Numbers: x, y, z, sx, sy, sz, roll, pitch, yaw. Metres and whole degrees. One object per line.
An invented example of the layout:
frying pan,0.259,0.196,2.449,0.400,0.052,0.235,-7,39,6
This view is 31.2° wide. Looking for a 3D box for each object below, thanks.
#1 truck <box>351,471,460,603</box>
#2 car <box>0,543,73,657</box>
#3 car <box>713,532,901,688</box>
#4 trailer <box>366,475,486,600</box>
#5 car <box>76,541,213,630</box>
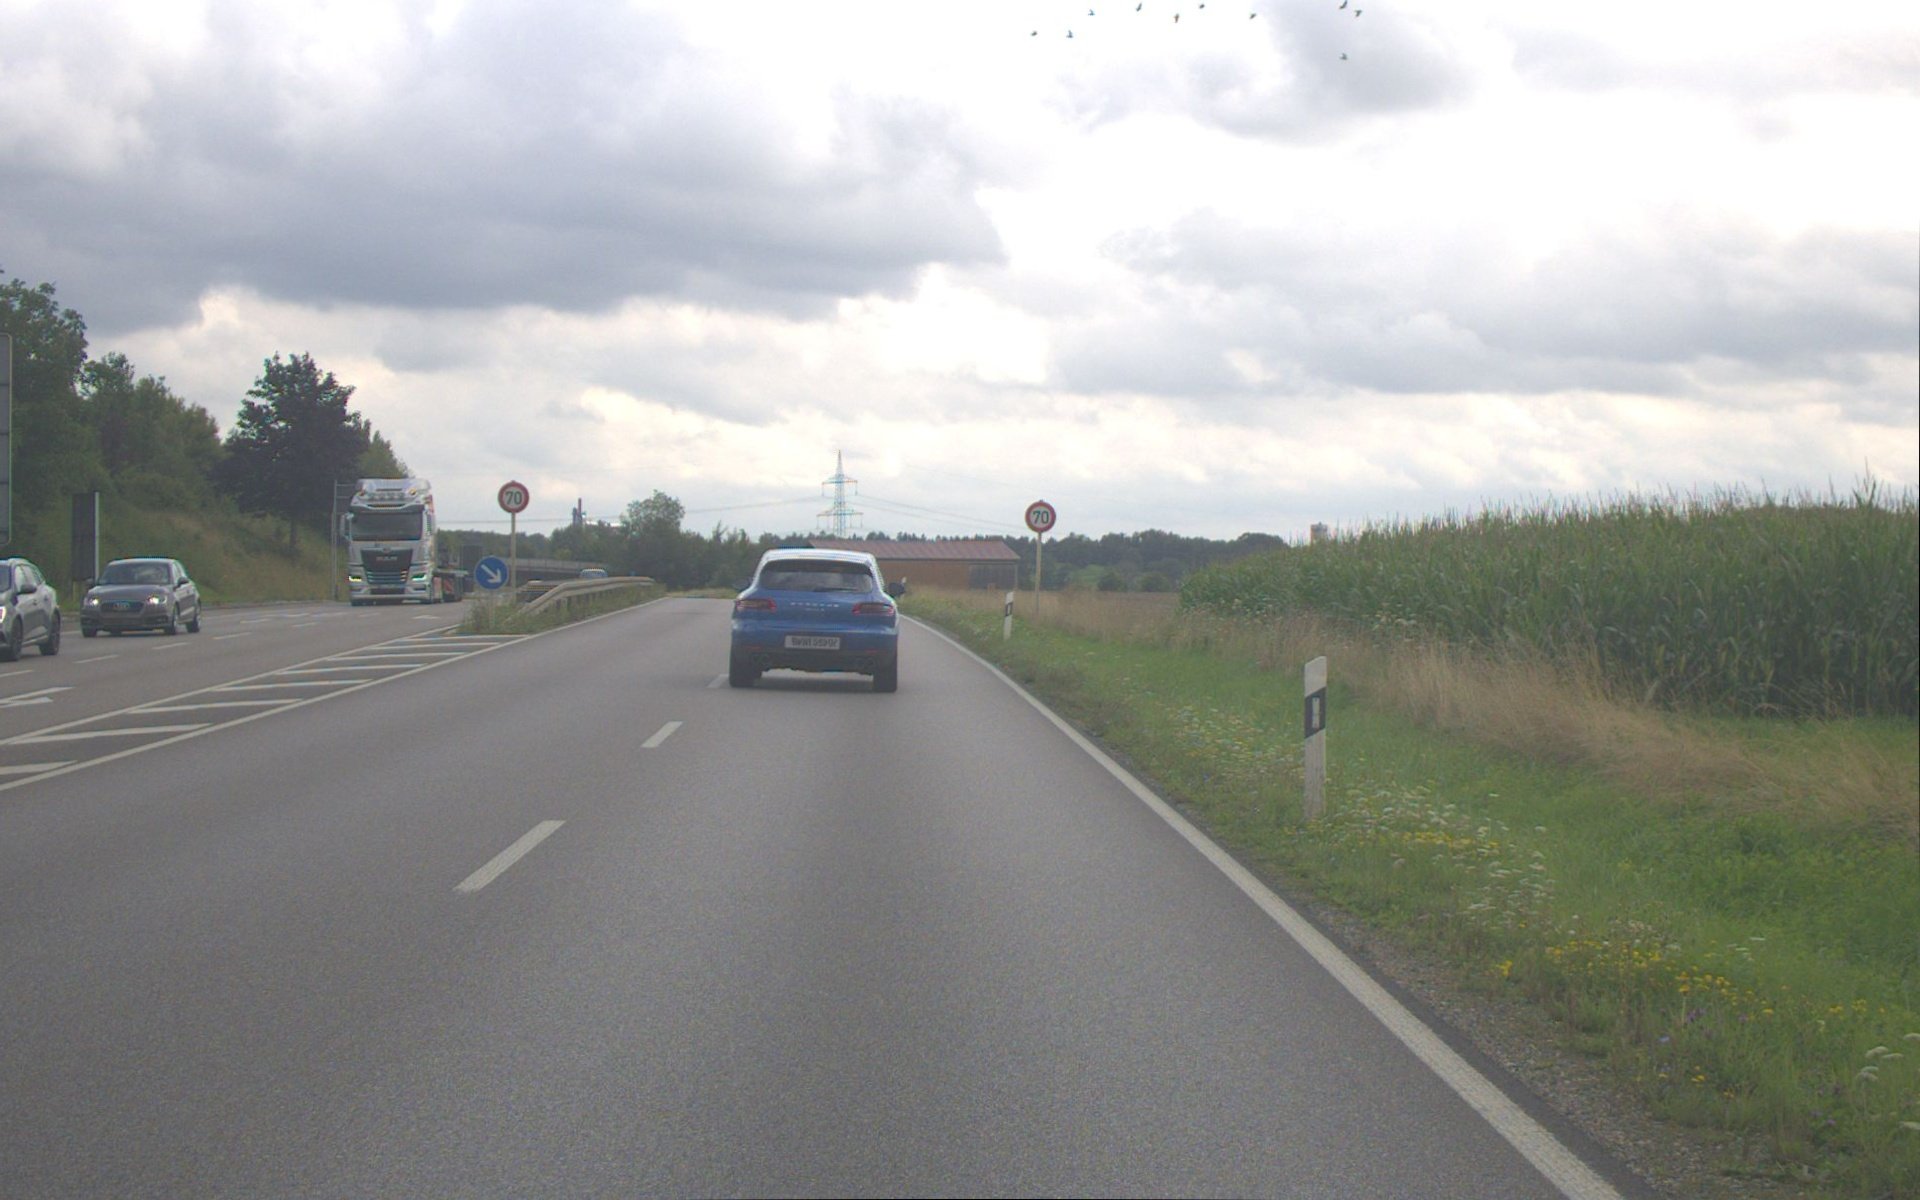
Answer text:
truck,-17.397,-1.997,108.105,2.802,3.983,5.287,1,1,-3
car,-14.086,-0.030,49.369,1.732,1.525,4.549,-1,1,-3
car,-1.839,0.087,40.556,2.033,1.655,4.544,2,1,-3
trailer,-17.852,-2.134,115.693,2.775,3.933,12.988,1,1,-4
car,-15.004,-0.294,63.427,1.732,1.525,4.194,-1,1,-3
